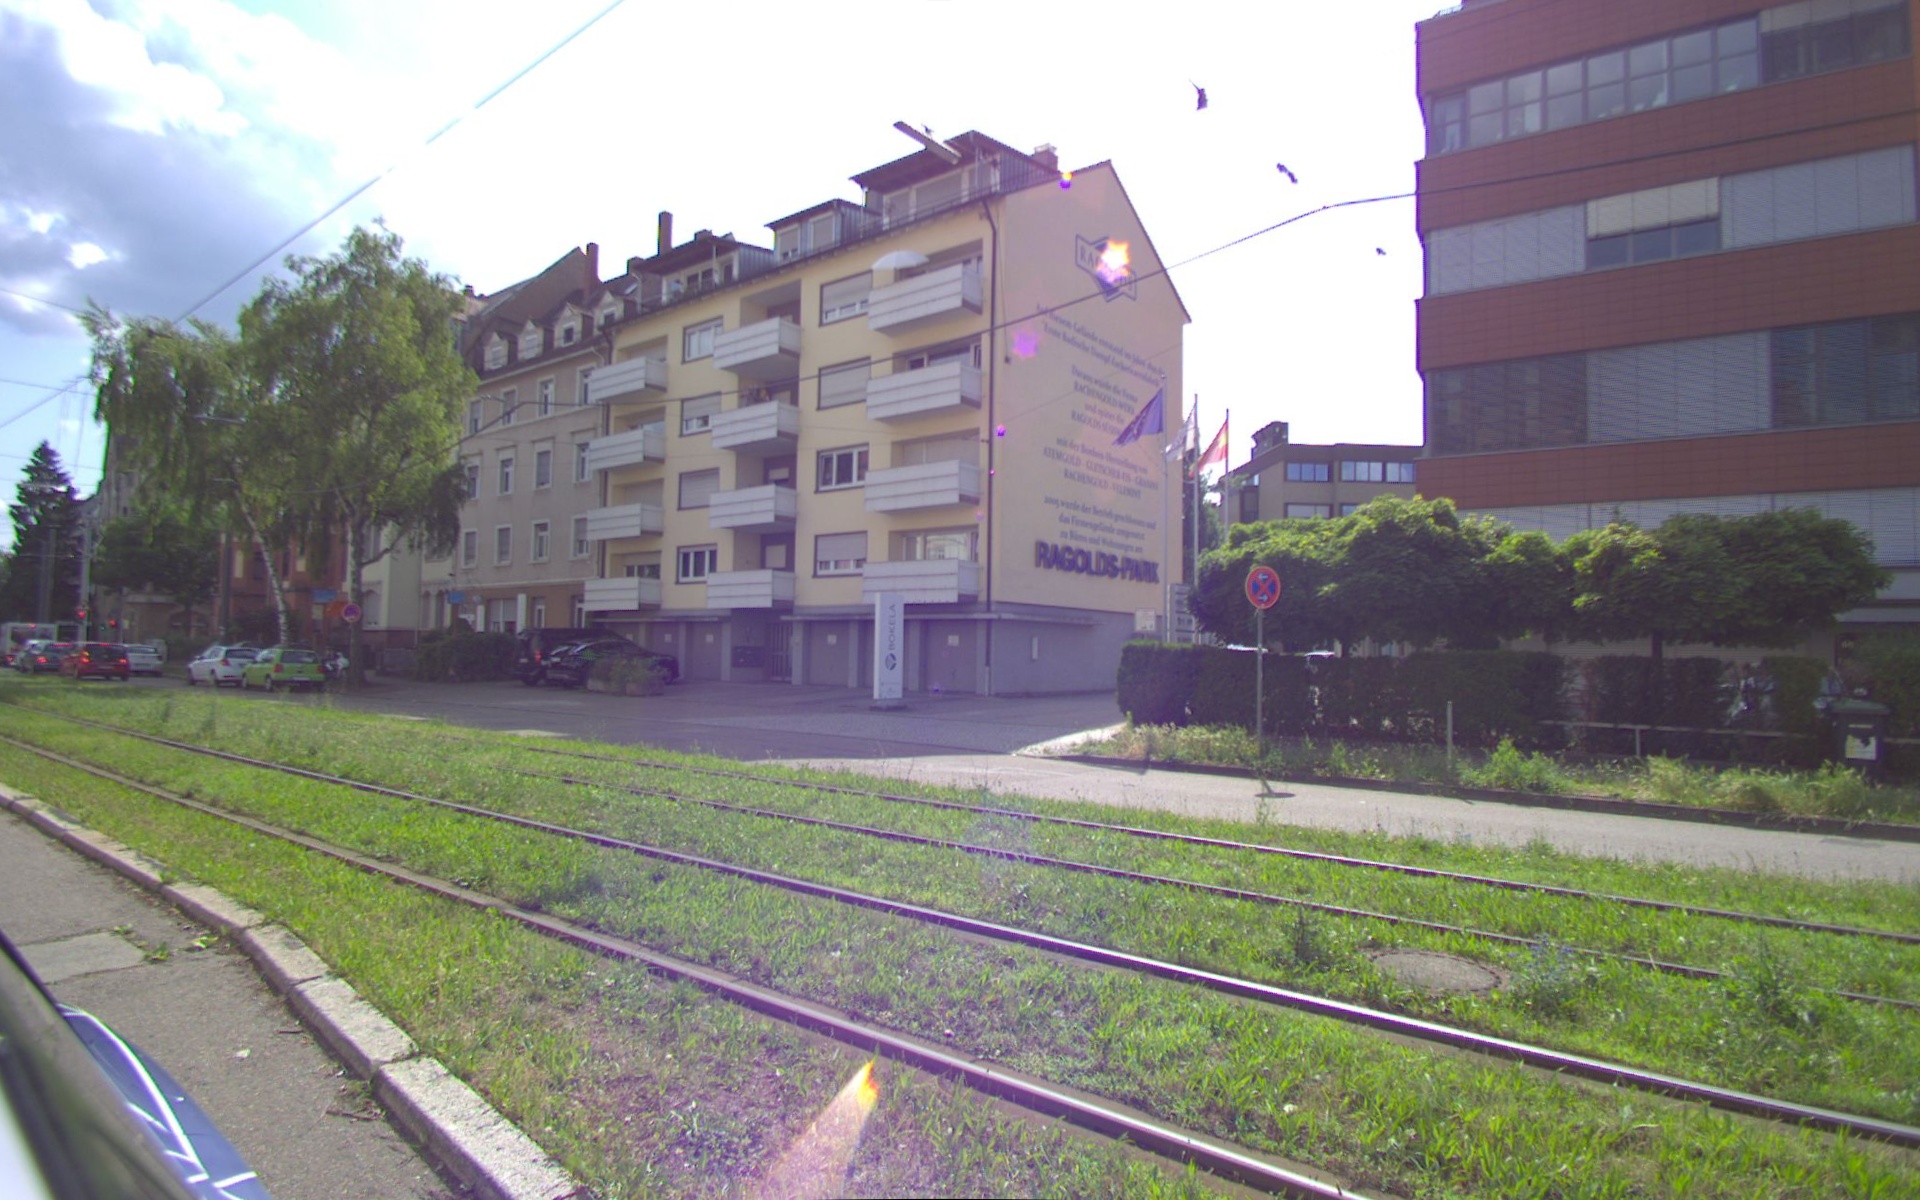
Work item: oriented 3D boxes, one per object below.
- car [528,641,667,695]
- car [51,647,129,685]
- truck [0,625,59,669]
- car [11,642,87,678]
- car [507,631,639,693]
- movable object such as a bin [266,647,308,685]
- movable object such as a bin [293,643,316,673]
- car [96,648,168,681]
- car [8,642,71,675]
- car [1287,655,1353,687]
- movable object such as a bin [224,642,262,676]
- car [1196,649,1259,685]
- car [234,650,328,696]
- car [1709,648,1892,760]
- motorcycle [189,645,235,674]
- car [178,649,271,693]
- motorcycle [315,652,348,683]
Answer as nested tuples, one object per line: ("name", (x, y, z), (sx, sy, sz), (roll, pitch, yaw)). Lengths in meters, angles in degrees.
("car", (-12.056, 2.221, 33.856), (1.970, 1.614, 3.948), (-2, -2, 38))
("car", (-33.452, 2.527, 38.900), (3.688, 1.397, 1.563), (-2, -5, 39))
("truck", (-50.516, 2.554, 54.551), (6.611, 2.231, 2.161), (-2, -5, 43))
("car", (-39.090, 2.558, 43.384), (4.508, 1.366, 1.737), (-1, -6, 40))
("car", (-13.654, 2.132, 35.860), (1.936, 2.029, 3.945), (-2, -2, 41))
("movable object such as a bin", (-26.434, 2.578, 39.726), (1.519, 1.441, 0.942), (-2, -2, 38))
("movable object such as a bin", (-30.839, 2.714, 47.606), (0.697, 1.372, 0.667), (-2, -4, 35))
("car", (-37.242, 2.880, 45.505), (3.991, 1.366, 1.737), (-2, -5, 40))
("car", (-43.598, 2.770, 47.907), (4.133, 1.425, 1.736), (-2, -6, 43))
("car", (19.776, 3.883, 55.797), (1.743, 1.708, 4.007), (1, -3, -9))
("movable object such as a bin", (-31.267, 2.557, 44.126), (1.519, 1.377, 0.942), (-2, 1, 38))
("car", (14.193, 3.556, 53.882), (1.743, 1.827, 4.007), (1, -3, -9))
("car", (-22.852, 2.424, 34.028), (3.610, 1.443, 1.578), (-2, -5, 39))
("car", (13.861, 1.636, 16.933), (1.995, 1.608, 3.952), (-1, -4, 35))
("motorcycle", (-33.680, 2.679, 45.568), (2.287, 1.252, 0.893), (-1, -4, 33))
("car", (-27.042, 2.596, 37.166), (4.221, 1.489, 1.628), (-2, -6, 39))
("motorcycle", (-22.939, 2.441, 36.914), (1.630, 1.050, 0.494), (0, 0, 38))
